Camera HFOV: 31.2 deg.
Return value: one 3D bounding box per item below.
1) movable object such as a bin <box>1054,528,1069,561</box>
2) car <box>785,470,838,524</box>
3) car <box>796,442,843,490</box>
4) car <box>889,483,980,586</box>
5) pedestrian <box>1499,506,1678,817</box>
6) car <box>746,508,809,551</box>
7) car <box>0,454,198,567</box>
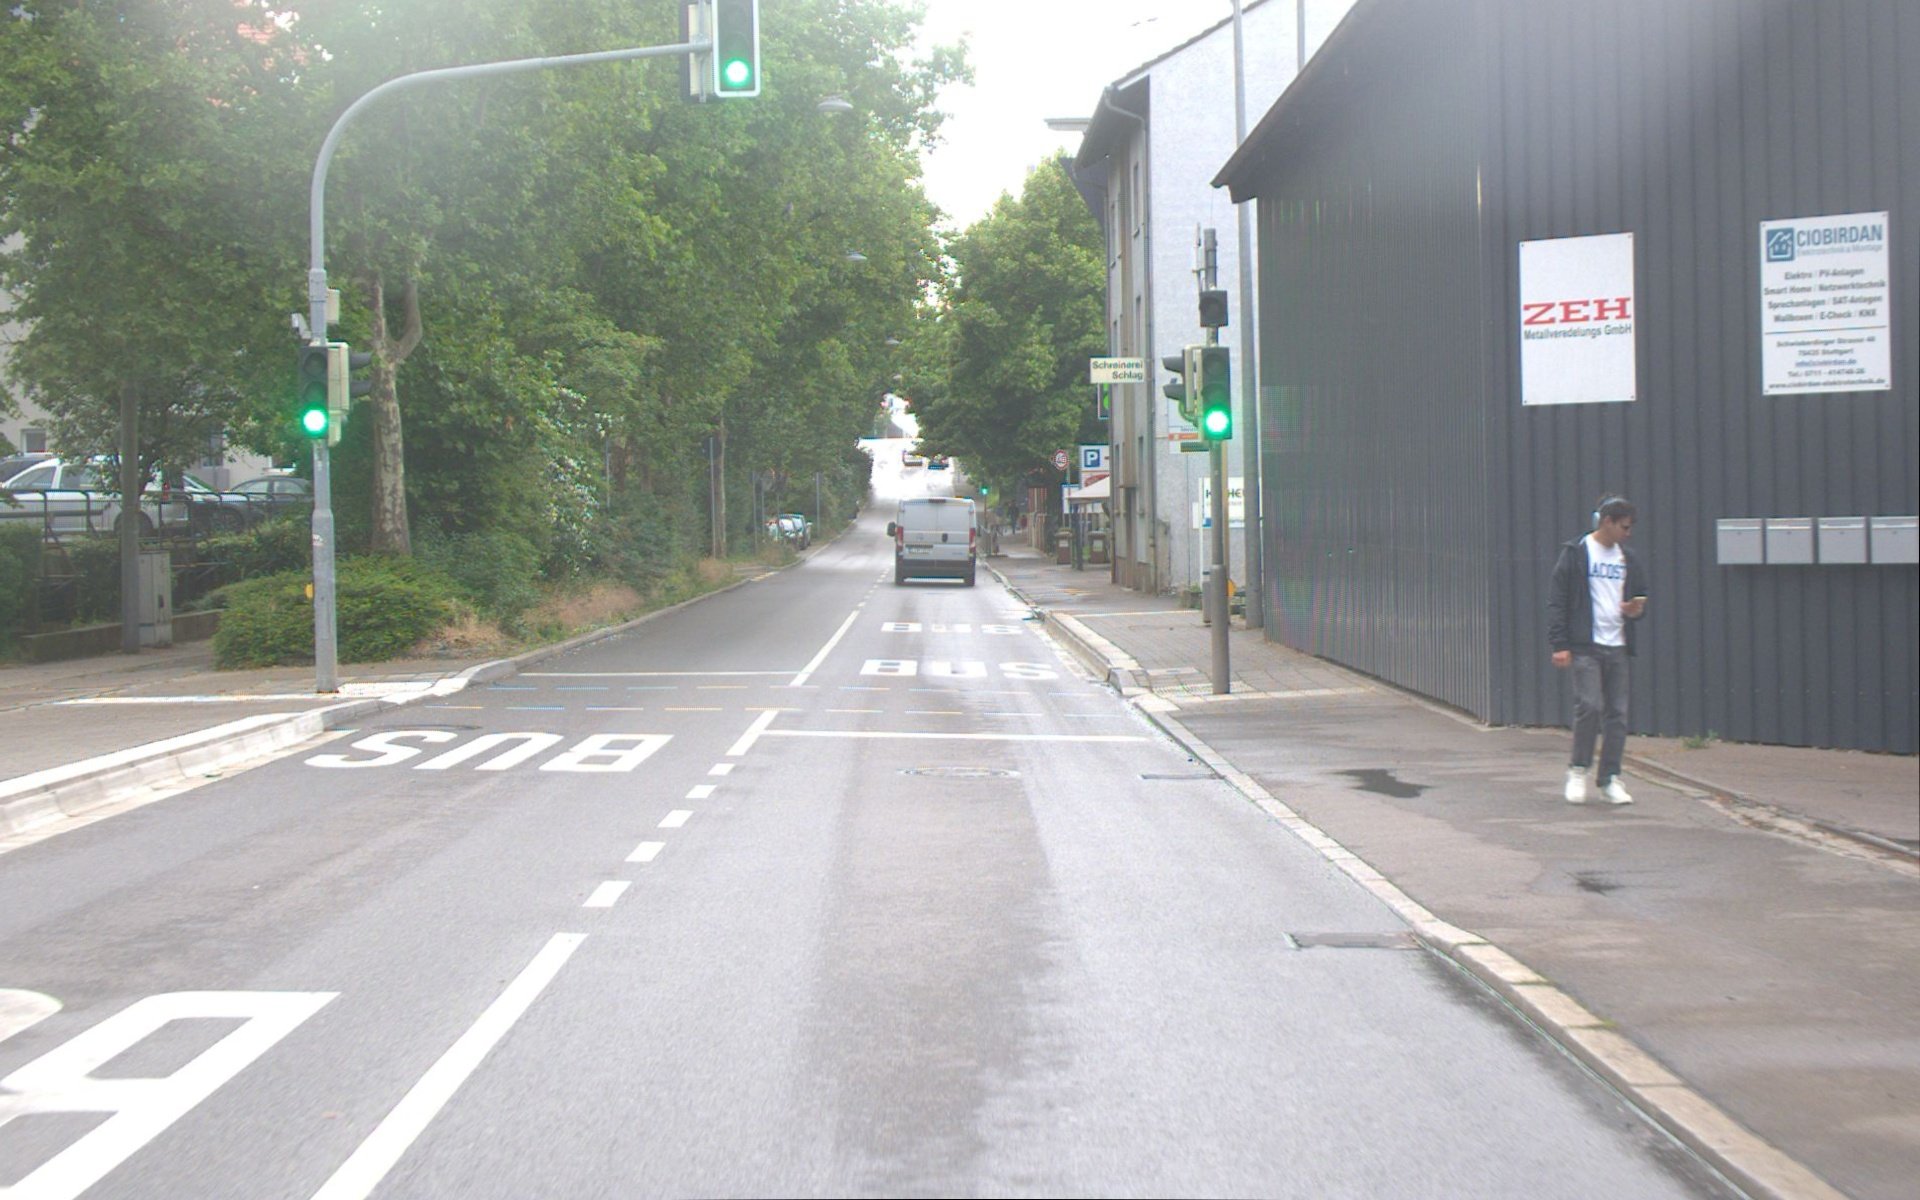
[{"bbox_3d":[3.356,-1.829,113.539,0.399,1.063,0.358,-4,0,-6],"label":"movable object such as a bin"},{"bbox_3d":[-7.227,-5.036,167.939,2.215,2.525,4.609,1,1,2],"label":"car"},{"bbox_3d":[-7.690,-7.357,189.129,2.215,2.286,4.609,1,-1,2],"label":"car"},{"bbox_3d":[-0.656,-1.660,88.275,2.282,2.544,4.000,0,0,0],"label":"car"},{"bbox_3d":[3.530,0.341,19.369,0.742,1.698,0.902,1,0,-6],"label":"pedestrian"},{"bbox_3d":[-7.550,-2.914,142.600,2.215,1.587,4.609,1,0,2],"label":"car"},{"bbox_3d":[-16.075,-1.621,62.316,4.167,2.007,1.719,0,1,-3],"label":"car"}]
